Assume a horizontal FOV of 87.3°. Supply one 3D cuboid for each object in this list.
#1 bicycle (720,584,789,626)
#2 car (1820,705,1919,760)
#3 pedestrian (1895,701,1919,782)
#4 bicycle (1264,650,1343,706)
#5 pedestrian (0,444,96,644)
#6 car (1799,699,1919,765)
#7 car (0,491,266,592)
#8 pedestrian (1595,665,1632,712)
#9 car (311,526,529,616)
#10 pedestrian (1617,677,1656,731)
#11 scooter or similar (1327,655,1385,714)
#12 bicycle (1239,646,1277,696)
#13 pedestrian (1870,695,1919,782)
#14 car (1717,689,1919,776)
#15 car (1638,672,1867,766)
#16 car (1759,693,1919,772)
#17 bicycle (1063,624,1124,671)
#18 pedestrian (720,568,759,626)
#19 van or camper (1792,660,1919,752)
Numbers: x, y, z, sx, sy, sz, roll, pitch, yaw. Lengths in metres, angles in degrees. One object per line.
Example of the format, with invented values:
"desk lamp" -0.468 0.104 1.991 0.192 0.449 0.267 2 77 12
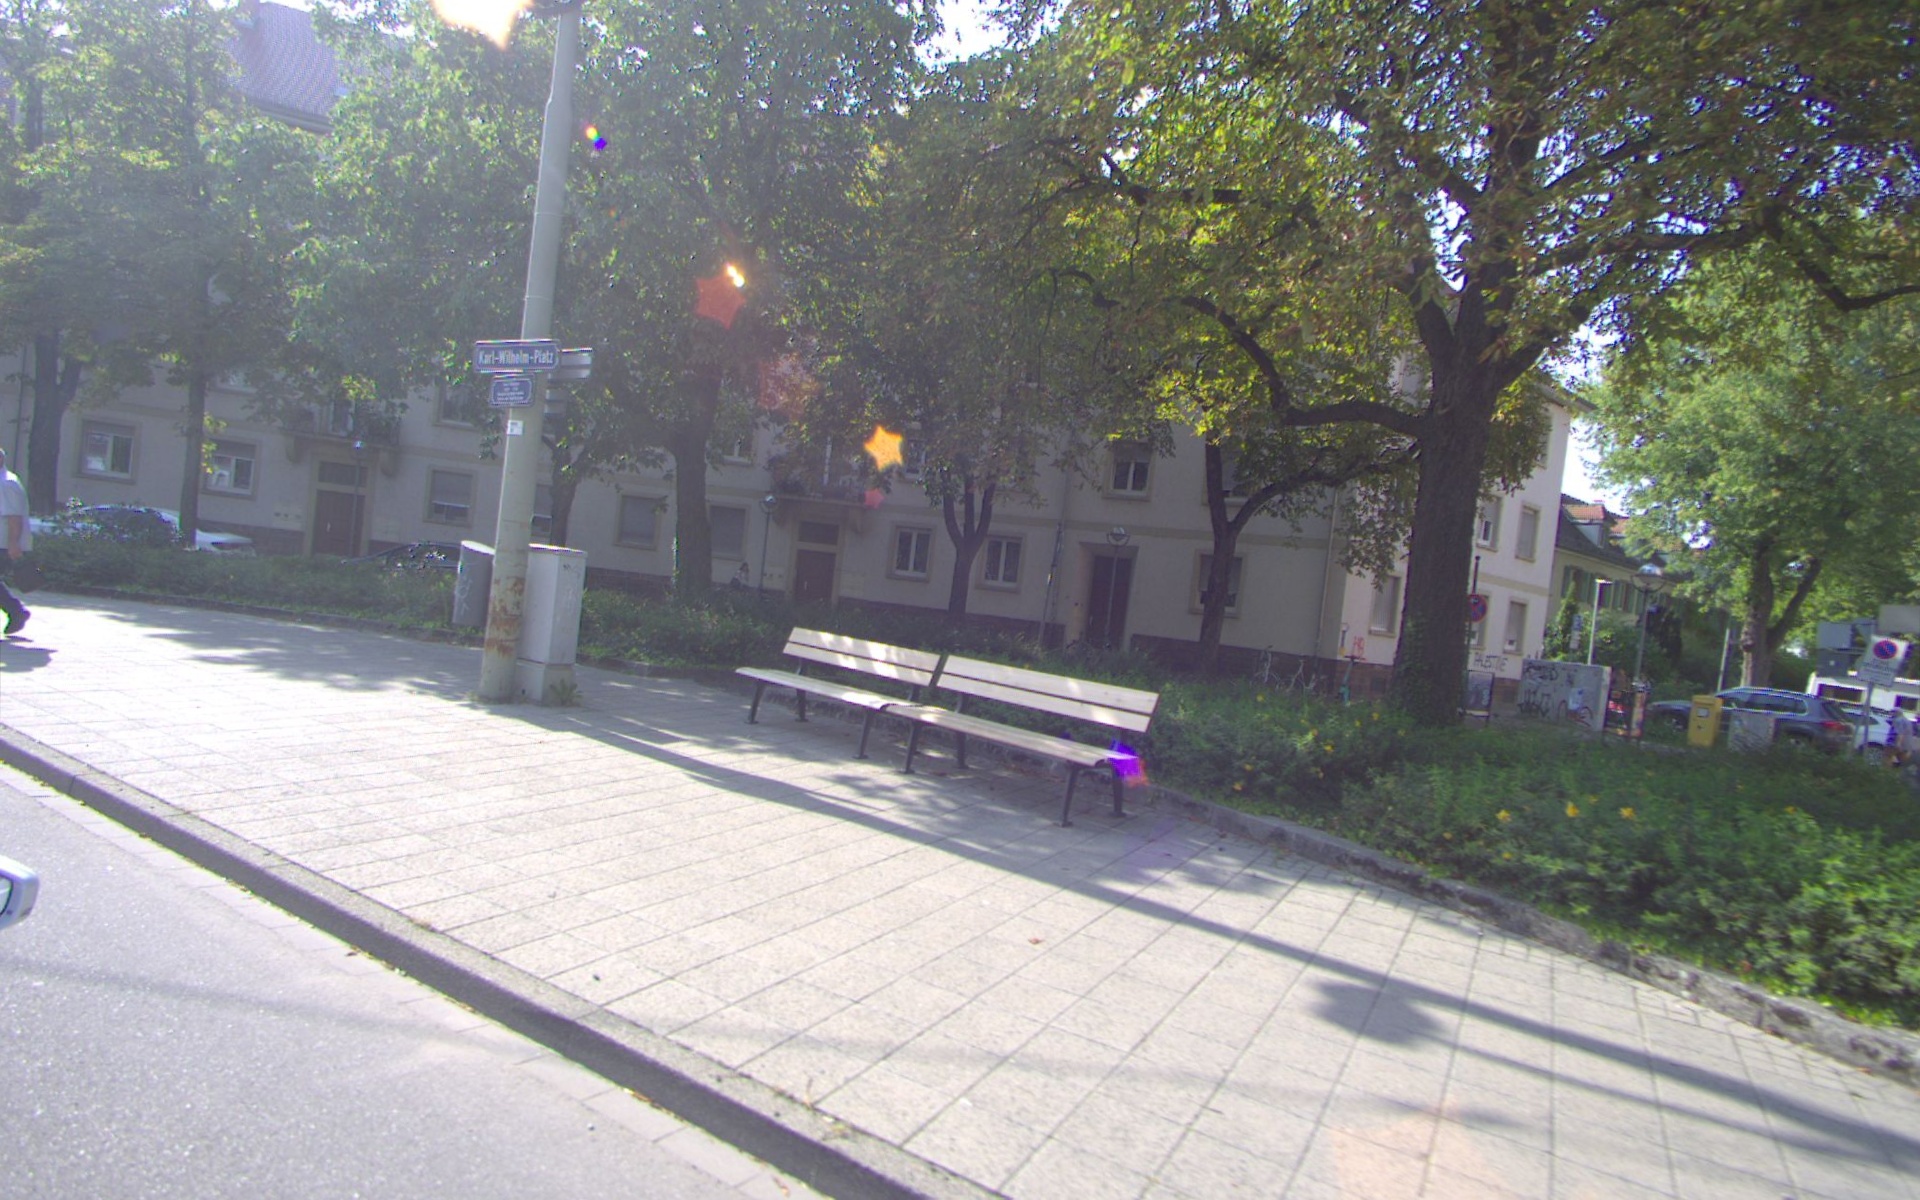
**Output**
"bicycle" -6.110 0.144 29.904 1.873 1.019 0.534 7 1 10
"car" 33.861 4.910 36.317 1.652 1.386 3.970 6 3 -44
"pedestrian" 22.194 3.283 23.149 0.597 1.786 0.589 6 1 -9
"bicycle" 7.747 1.766 22.643 1.821 1.071 0.603 7 0 -33
"pedestrian" -8.815 -0.538 9.148 1.059 1.749 0.968 6 3 11
"car" 29.619 4.301 32.166 1.652 1.481 3.970 6 3 -44
"car" -17.885 -1.236 21.235 4.881 1.489 1.867 6 3 -19
"pedestrian" 23.394 3.162 36.028 0.852 1.566 0.761 6 1 -40
"car" -12.058 -0.642 22.650 3.820 1.470 1.749 7 2 -4
"pedestrian" 23.842 3.665 35.453 0.851 1.782 0.762 6 1 -39
"scooter or similar" 8.732 1.860 22.172 1.099 1.172 0.439 6 1 -25
"bicycle" 7.039 1.653 23.707 0.597 1.071 1.869 7 0 21
"pedestrian" 20.927 3.070 22.345 0.596 1.786 0.654 6 1 -7
"car" 24.187 3.666 28.385 1.652 1.481 4.140 6 3 -44
"car" 19.891 2.953 25.417 1.649 1.659 4.151 6 0 -38
"car" 26.147 3.881 29.475 1.652 1.481 3.970 6 3 -44
"bicycle" 3.535 1.261 26.662 1.465 1.073 0.416 6 1 35
"pedestrian" -6.871 -0.086 31.335 0.850 1.692 0.688 6 1 4
"van or camper" 37.461 4.426 39.456 1.986 2.916 6.863 9 1 -39
